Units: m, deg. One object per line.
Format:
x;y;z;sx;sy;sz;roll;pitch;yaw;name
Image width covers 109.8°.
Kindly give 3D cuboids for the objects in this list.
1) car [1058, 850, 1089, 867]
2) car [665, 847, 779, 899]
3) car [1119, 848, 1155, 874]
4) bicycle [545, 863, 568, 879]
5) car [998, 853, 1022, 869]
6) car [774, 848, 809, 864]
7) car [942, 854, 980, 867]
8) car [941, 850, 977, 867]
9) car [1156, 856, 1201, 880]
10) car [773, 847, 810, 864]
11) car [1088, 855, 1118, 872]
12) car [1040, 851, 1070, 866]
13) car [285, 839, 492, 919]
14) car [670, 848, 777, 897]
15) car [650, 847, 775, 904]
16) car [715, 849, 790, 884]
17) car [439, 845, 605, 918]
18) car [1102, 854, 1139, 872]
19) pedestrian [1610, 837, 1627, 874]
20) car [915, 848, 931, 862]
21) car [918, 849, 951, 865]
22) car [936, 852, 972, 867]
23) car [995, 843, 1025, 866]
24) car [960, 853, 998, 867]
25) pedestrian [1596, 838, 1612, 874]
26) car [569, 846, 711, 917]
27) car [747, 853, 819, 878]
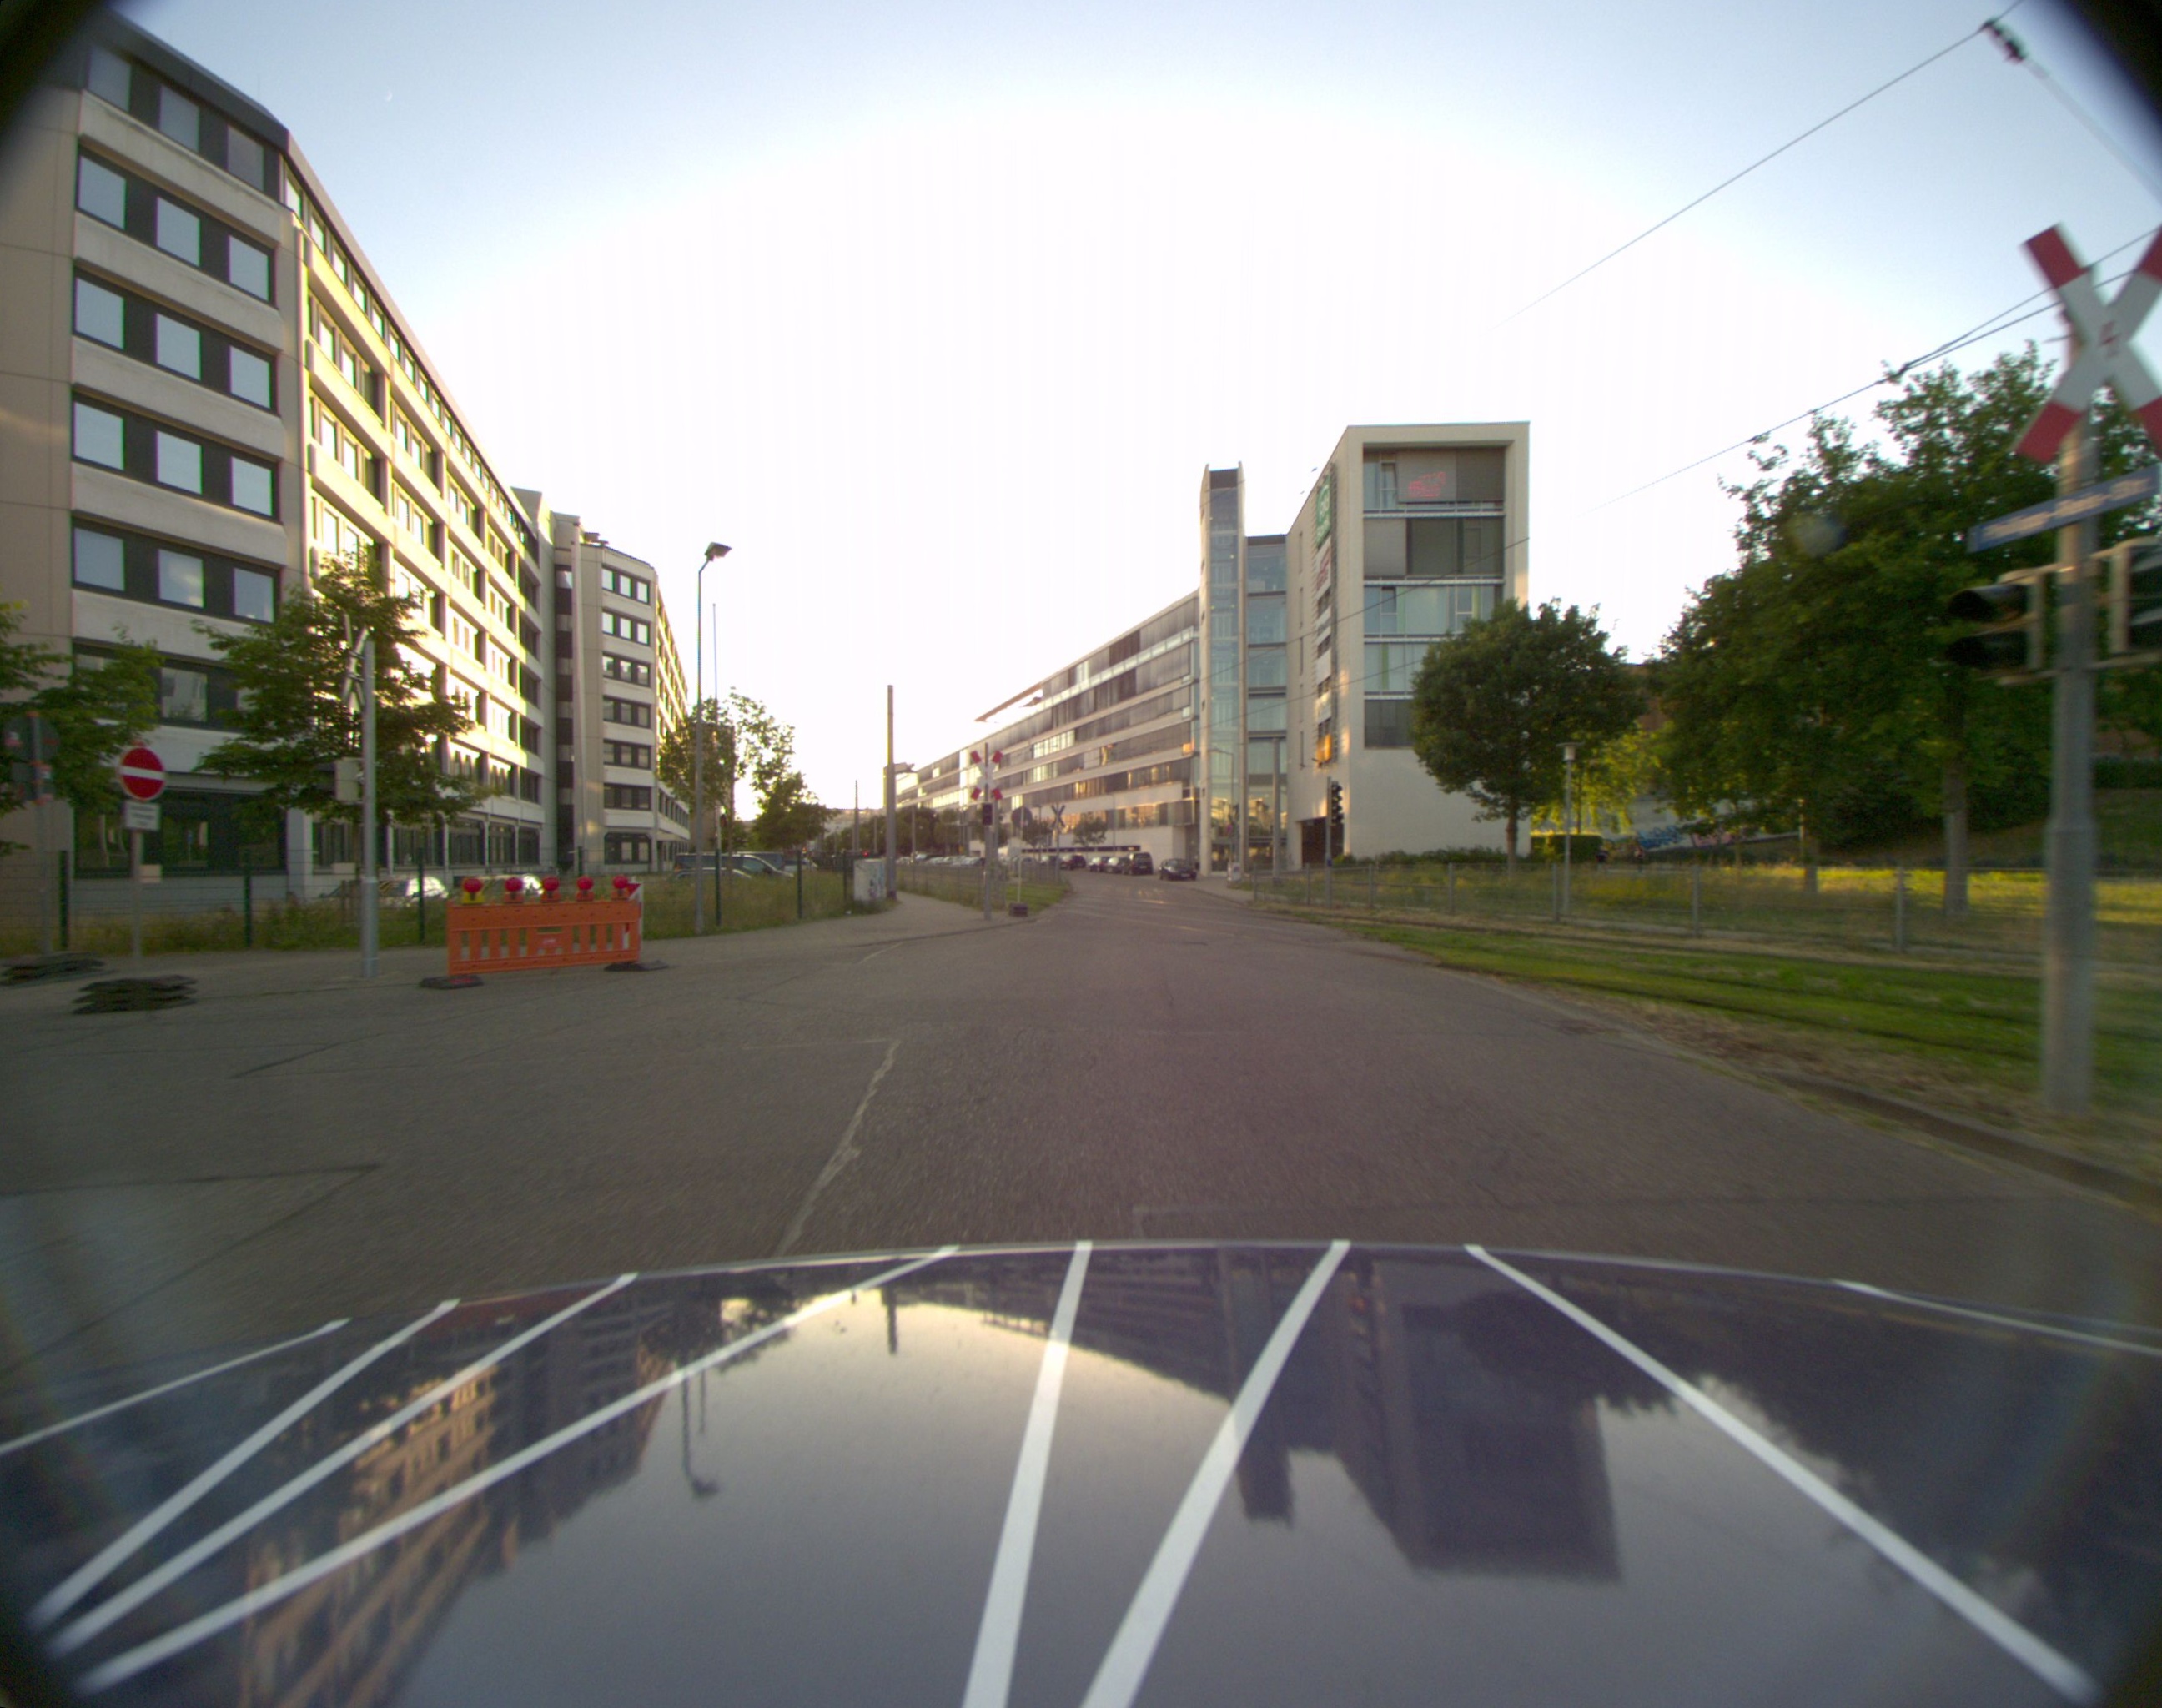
-0.792;0.409;79.177;1.800;1.676;3.991;-1;1;-24;car
-14.461;0.738;30.873;4.004;2.002;1.996;0;0;-20;car
4.479;0.546;61.284;1.895;1.961;4.514;-2;0;-9;car
-32.595;1.062;47.259;0.816;0.945;2.210;0;0;-24;bicycle
-6.788;0.685;72.392;1.633;1.503;3.412;0;0;-17;car
-36.441;0.207;95.638;4.005;2.002;1.996;-1;0;-26;car
-12.360;0.647;78.463;1.713;1.368;4.007;0;0;28;car
-13.057;0.483;81.527;1.713;1.746;4.008;0;0;31;car
6.359;0.884;50.129;1.858;1.433;4.225;-2;0;-7;car
-35.383;0.140;92.793;4.005;2.002;1.996;-1;0;-26;car
2.020;0.865;70.905;1.654;1.468;3.760;0;0;-18;car
-2.911;0.525;85.180;1.800;1.542;3.991;-3;1;-26;car
-18.944;0.636;21.082;1.998;2.002;4.000;0;0;1;car
-15.372;0.776;32.888;4.004;2.002;1.996;0;0;-20;car
-13.618;0.741;28.365;4.004;2.002;1.996;0;0;-20;car
-19.637;0.692;45.583;4.004;2.002;1.996;-1;1;-23;car
-16.670;0.757;22.946;1.998;2.002;4.000;0;0;1;car
3.410;0.773;66.188;1.867;1.468;4.514;-3;1;-15;car
27.320;0.075;38.610;0.438;1.826;0.483;-2;1;-19;pedestrian
-30.282;0.157;145.420;2.003;2.570;3.991;-1;0;-26;car
-18.339;0.371;95.245;1.713;1.948;4.181;0;0;31;car
-14.027;0.617;84.136;1.713;1.634;4.008;0;0;31;car
-9.266;0.096;98.228;2.008;2.859;6.243;1;0;-23;car
-10.127;0.570;75.855;1.713;1.368;4.007;0;0;28;car
26.830;0.080;38.970;0.450;1.826;0.483;-2;1;-19;pedestrian
-13.425;0.784;23.466;1.998;2.002;4.000;0;0;1;car
-20.254;0.784;51.703;4.411;1.584;1.814;-1;1;-23;car
